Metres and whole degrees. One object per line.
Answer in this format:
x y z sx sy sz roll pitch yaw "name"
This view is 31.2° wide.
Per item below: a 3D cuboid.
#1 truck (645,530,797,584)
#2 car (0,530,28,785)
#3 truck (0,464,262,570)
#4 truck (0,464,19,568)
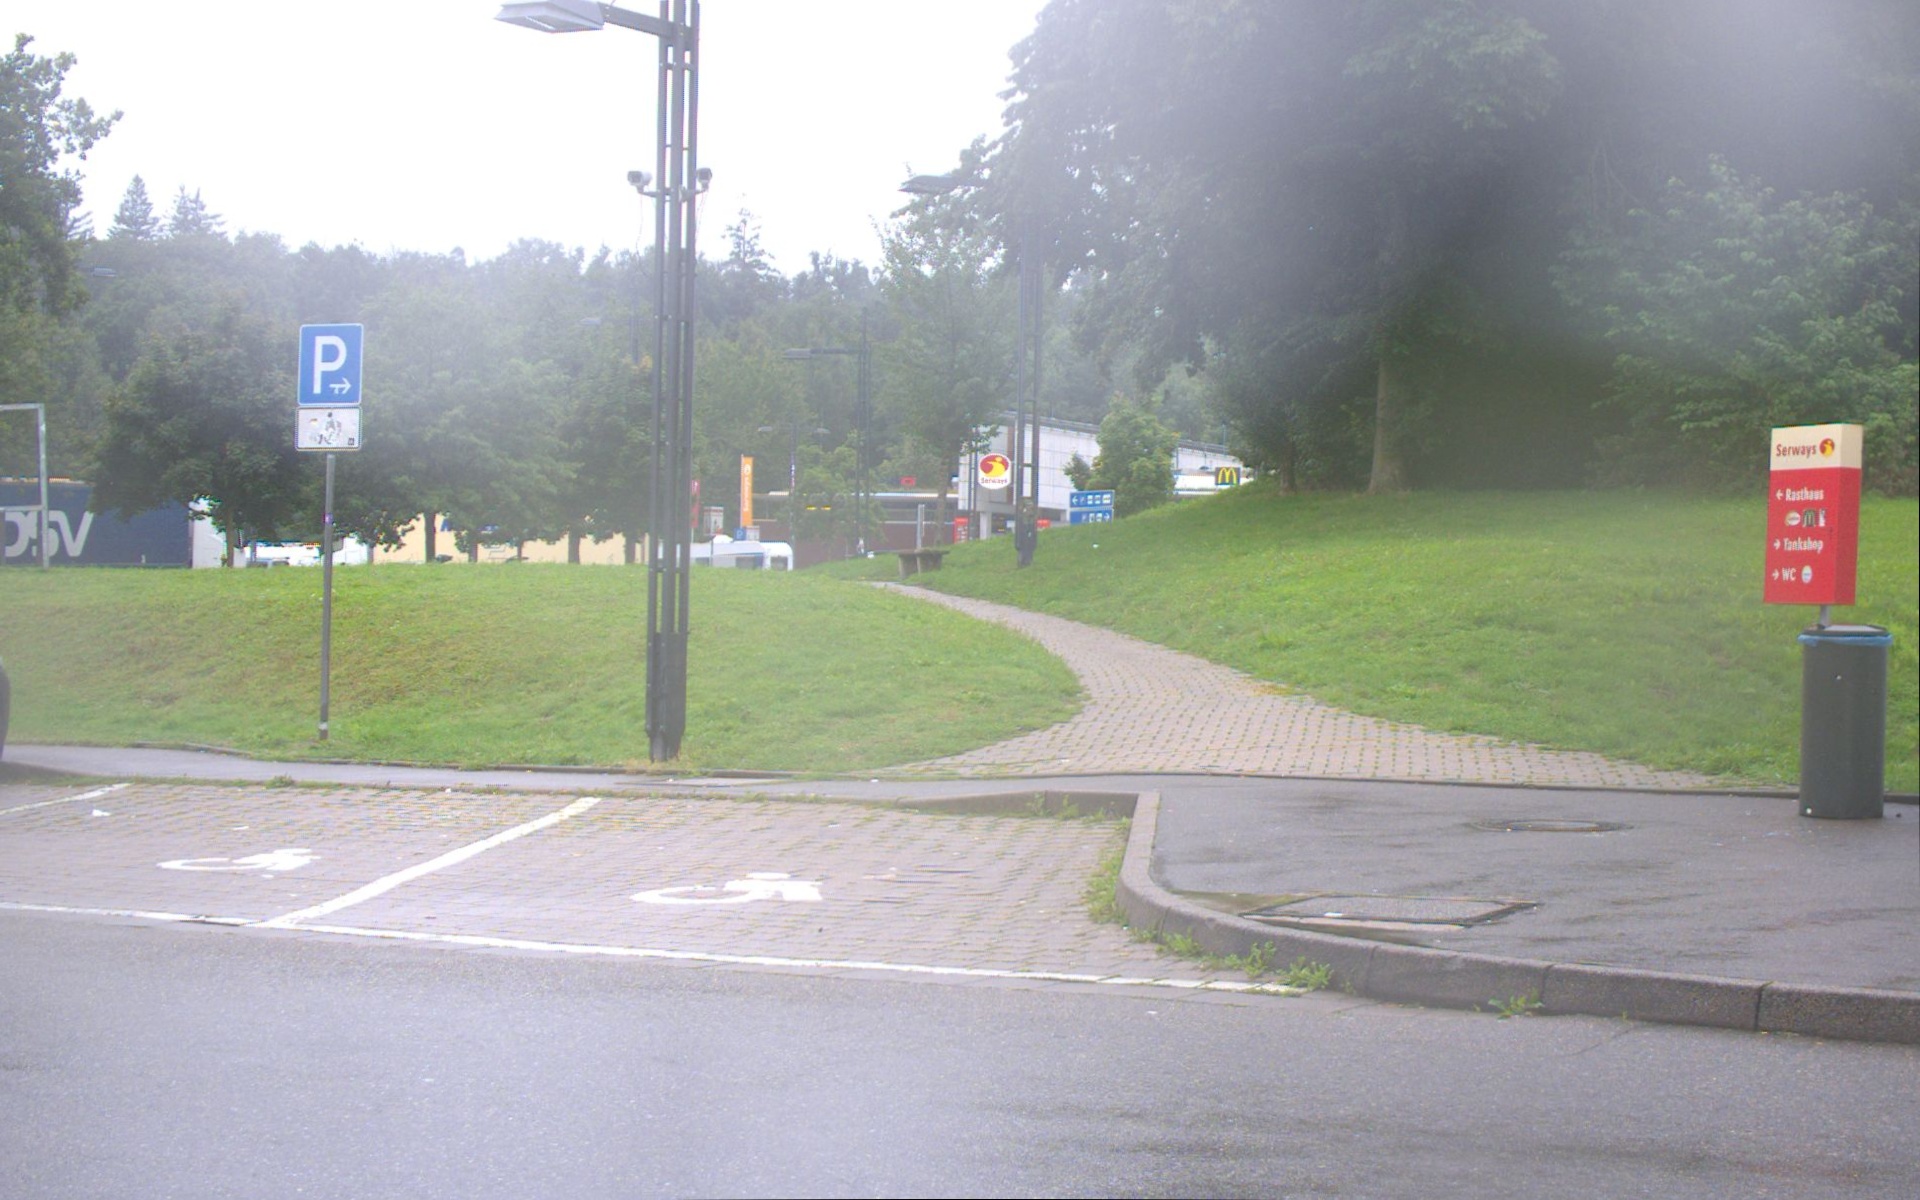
-9.315 -1.674 133.824 5.413 2.007 2.364 1 1 25 "truck"
-7.798 0.451 21.509 2.018 1.705 4.341 -1 1 12 "car"
-25.455 -2.377 101.647 2.188 2.910 13.082 1 1 24 "truck"
-28.594 -2.351 94.678 2.189 2.910 5.380 1 1 24 "truck"
